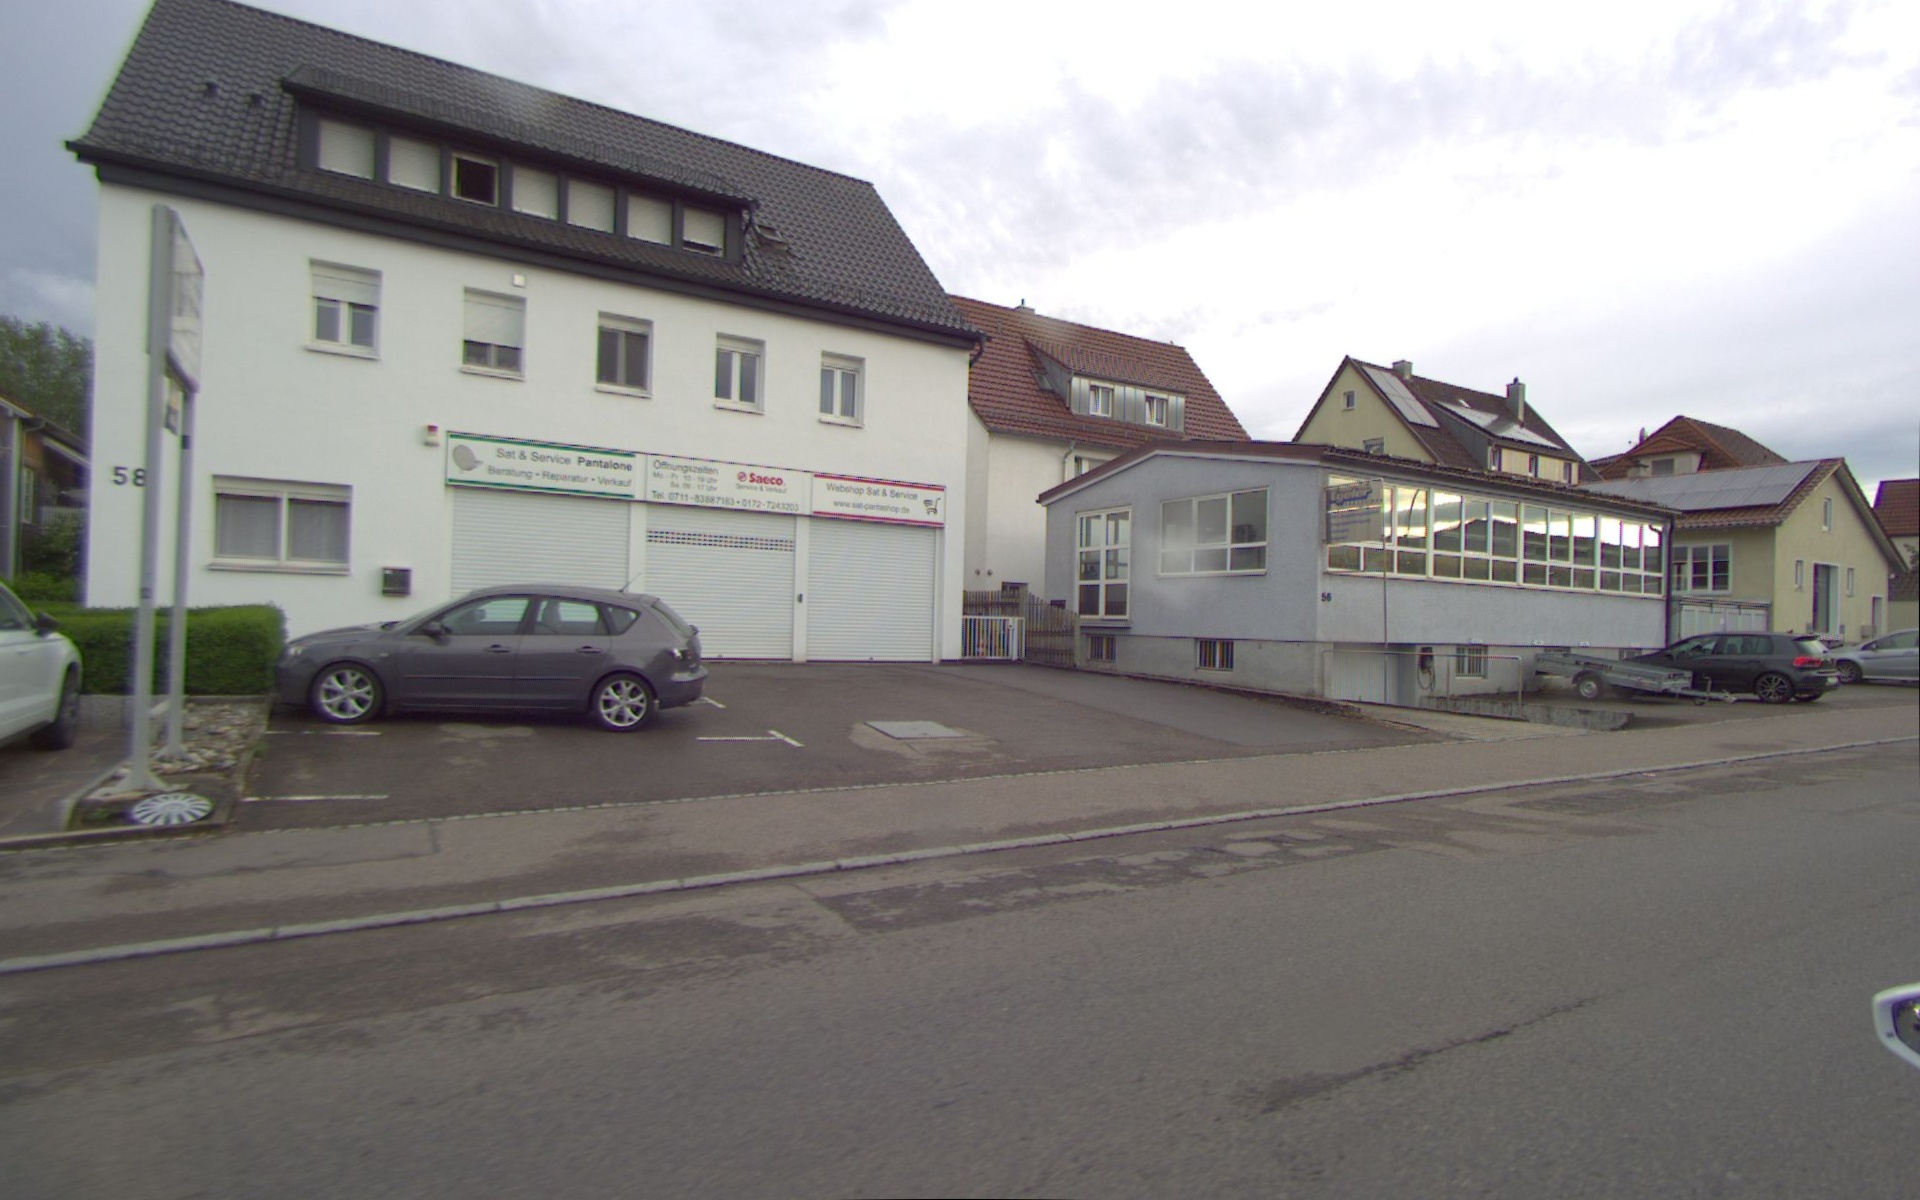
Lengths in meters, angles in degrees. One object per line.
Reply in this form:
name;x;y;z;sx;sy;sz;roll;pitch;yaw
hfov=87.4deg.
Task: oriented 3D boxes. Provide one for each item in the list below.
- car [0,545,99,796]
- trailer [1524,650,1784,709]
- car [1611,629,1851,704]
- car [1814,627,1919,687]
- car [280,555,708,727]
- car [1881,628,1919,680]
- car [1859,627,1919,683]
car;-7.832;0.432;7.116;1.978;1.669;3.965;1;2;-31
trailer;14.446;1.602;21.145;1.774;0.955;4.174;1;-1;-32
car;16.838;1.387;22.126;1.747;1.457;3.855;1;-1;-30
car;26.037;1.541;27.231;1.980;1.553;4.057;1;-1;-35
car;-4.828;0.426;11.012;3.934;1.551;1.819;3;4;-15
car;29.712;1.621;29.227;1.739;1.523;4.057;1;-1;-35
car;28.114;1.563;28.152;1.794;1.553;4.060;1;-1;-33
